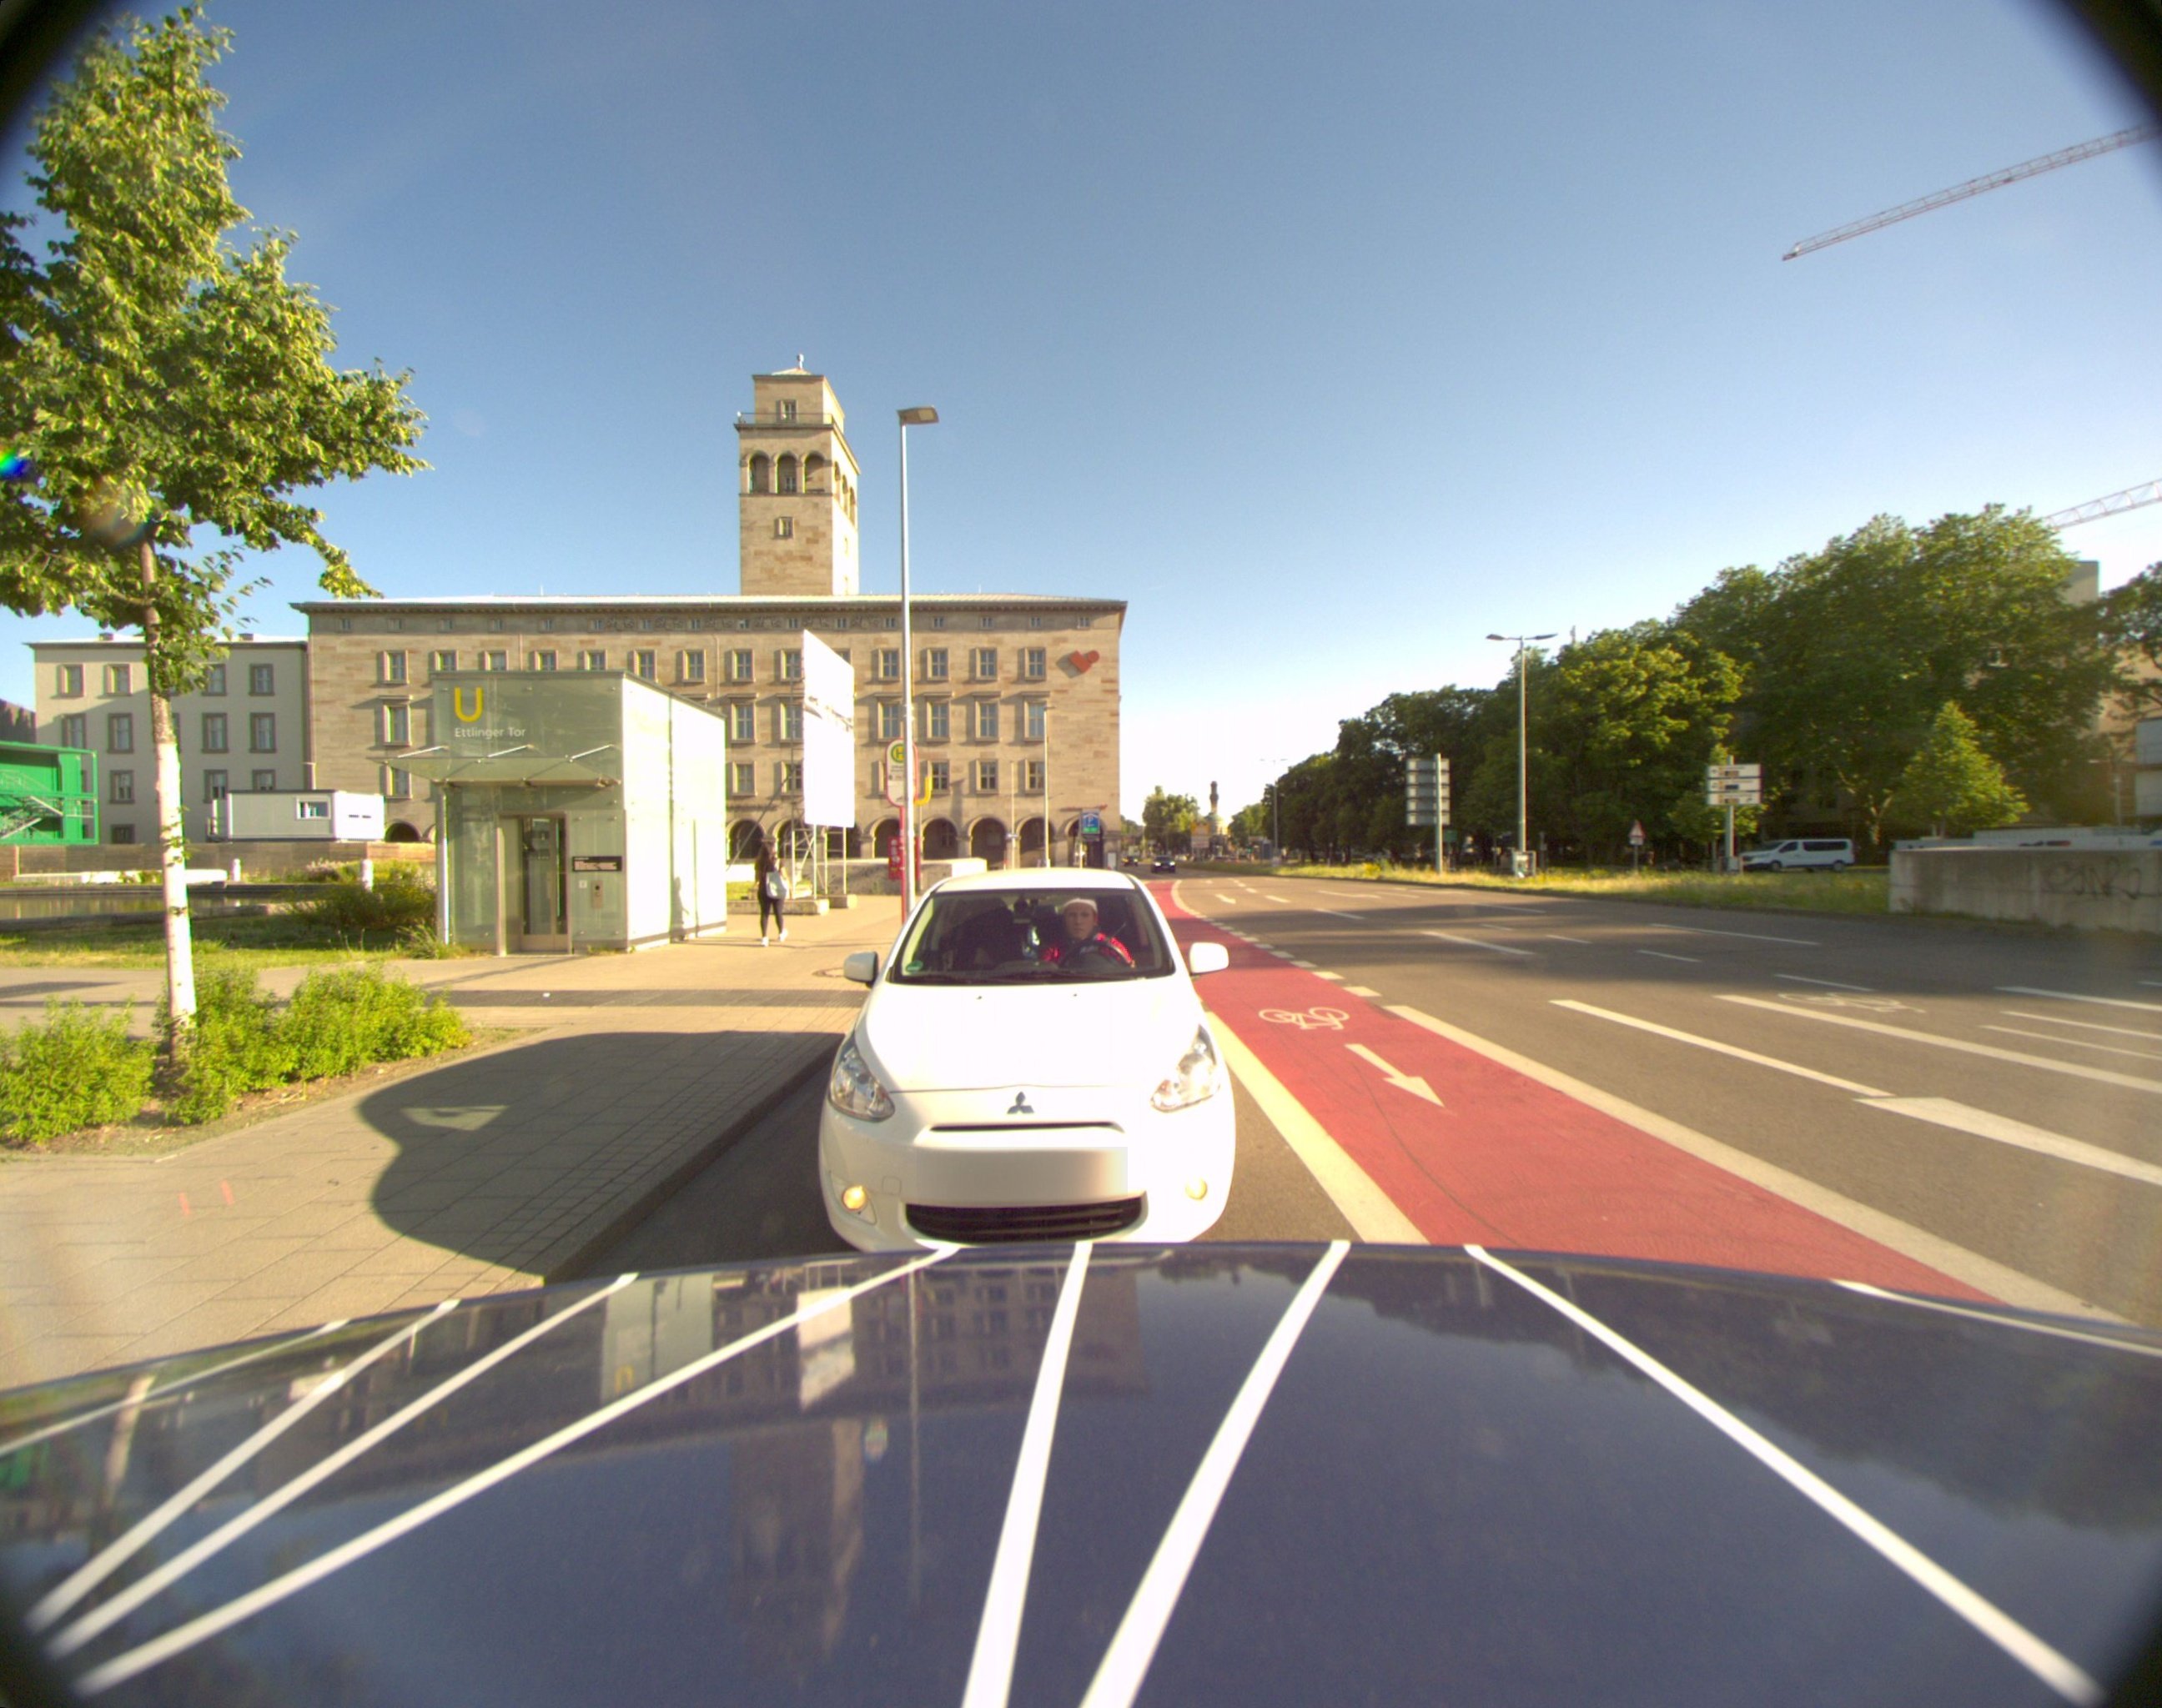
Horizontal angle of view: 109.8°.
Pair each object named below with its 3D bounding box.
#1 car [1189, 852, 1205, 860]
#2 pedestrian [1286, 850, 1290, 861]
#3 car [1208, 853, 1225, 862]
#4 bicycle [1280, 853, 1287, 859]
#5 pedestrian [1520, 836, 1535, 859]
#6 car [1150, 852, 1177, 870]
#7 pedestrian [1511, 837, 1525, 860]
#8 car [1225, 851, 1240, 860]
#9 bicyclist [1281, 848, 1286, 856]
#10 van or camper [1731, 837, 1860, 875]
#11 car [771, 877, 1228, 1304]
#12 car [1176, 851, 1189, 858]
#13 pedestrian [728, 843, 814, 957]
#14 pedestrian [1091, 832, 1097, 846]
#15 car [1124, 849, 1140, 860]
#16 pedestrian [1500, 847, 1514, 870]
[{"bbox_3d":[20.092,0.378,131.649,1.873,1.390,3.999,-1,0,-2],"label":"car"},{"bbox_3d":[34.345,0.256,126.231,0.627,1.837,0.926,0,1,13],"label":"pedestrian"},{"bbox_3d":[20.830,0.530,116.708,1.872,1.390,3.999,-1,0,-1],"label":"car"},{"bbox_3d":[31.774,0.311,119.348,0.610,0.838,1.745,-1,0,-1],"label":"bicycle"},{"bbox_3d":[34.244,-0.488,58.320,0.707,1.715,0.762,-1,1,1],"label":"pedestrian"},{"bbox_3d":[7.820,0.659,72.079,1.937,1.634,4.616,-1,0,-1],"label":"car"},{"bbox_3d":[33.585,-0.409,58.437,0.665,1.715,0.762,-1,1,1],"label":"pedestrian"},{"bbox_3d":[25.984,0.258,130.412,1.998,1.499,4.000,-1,0,2],"label":"car"},{"bbox_3d":[31.768,-0.284,119.337,0.610,1.274,0.715,-1,1,-1],"label":"bicyclist"},{"bbox_3d":[42.302,0.103,45.083,5.649,2.002,1.948,-2,1,2],"label":"van or camper"},{"bbox_3d":[-0.280,0.959,4.826,1.678,1.440,3.889,-2,0,1],"label":"car"},{"bbox_3d":[19.980,0.037,149.804,1.873,1.390,3.999,-1,0,-2],"label":"car"},{"bbox_3d":[-5.123,0.733,12.629,0.942,1.776,1.072,3,1,-2],"label":"pedestrian"},{"bbox_3d":[1.720,-1.983,100.155,0.704,1.843,0.828,-1,1,0],"label":"pedestrian"},{"bbox_3d":[7.761,0.040,115.828,1.999,1.709,4.325,-1,0,-1],"label":"car"},{"bbox_3d":[32.860,0.341,58.614,0.707,1.715,0.762,-1,1,1],"label":"pedestrian"}]
